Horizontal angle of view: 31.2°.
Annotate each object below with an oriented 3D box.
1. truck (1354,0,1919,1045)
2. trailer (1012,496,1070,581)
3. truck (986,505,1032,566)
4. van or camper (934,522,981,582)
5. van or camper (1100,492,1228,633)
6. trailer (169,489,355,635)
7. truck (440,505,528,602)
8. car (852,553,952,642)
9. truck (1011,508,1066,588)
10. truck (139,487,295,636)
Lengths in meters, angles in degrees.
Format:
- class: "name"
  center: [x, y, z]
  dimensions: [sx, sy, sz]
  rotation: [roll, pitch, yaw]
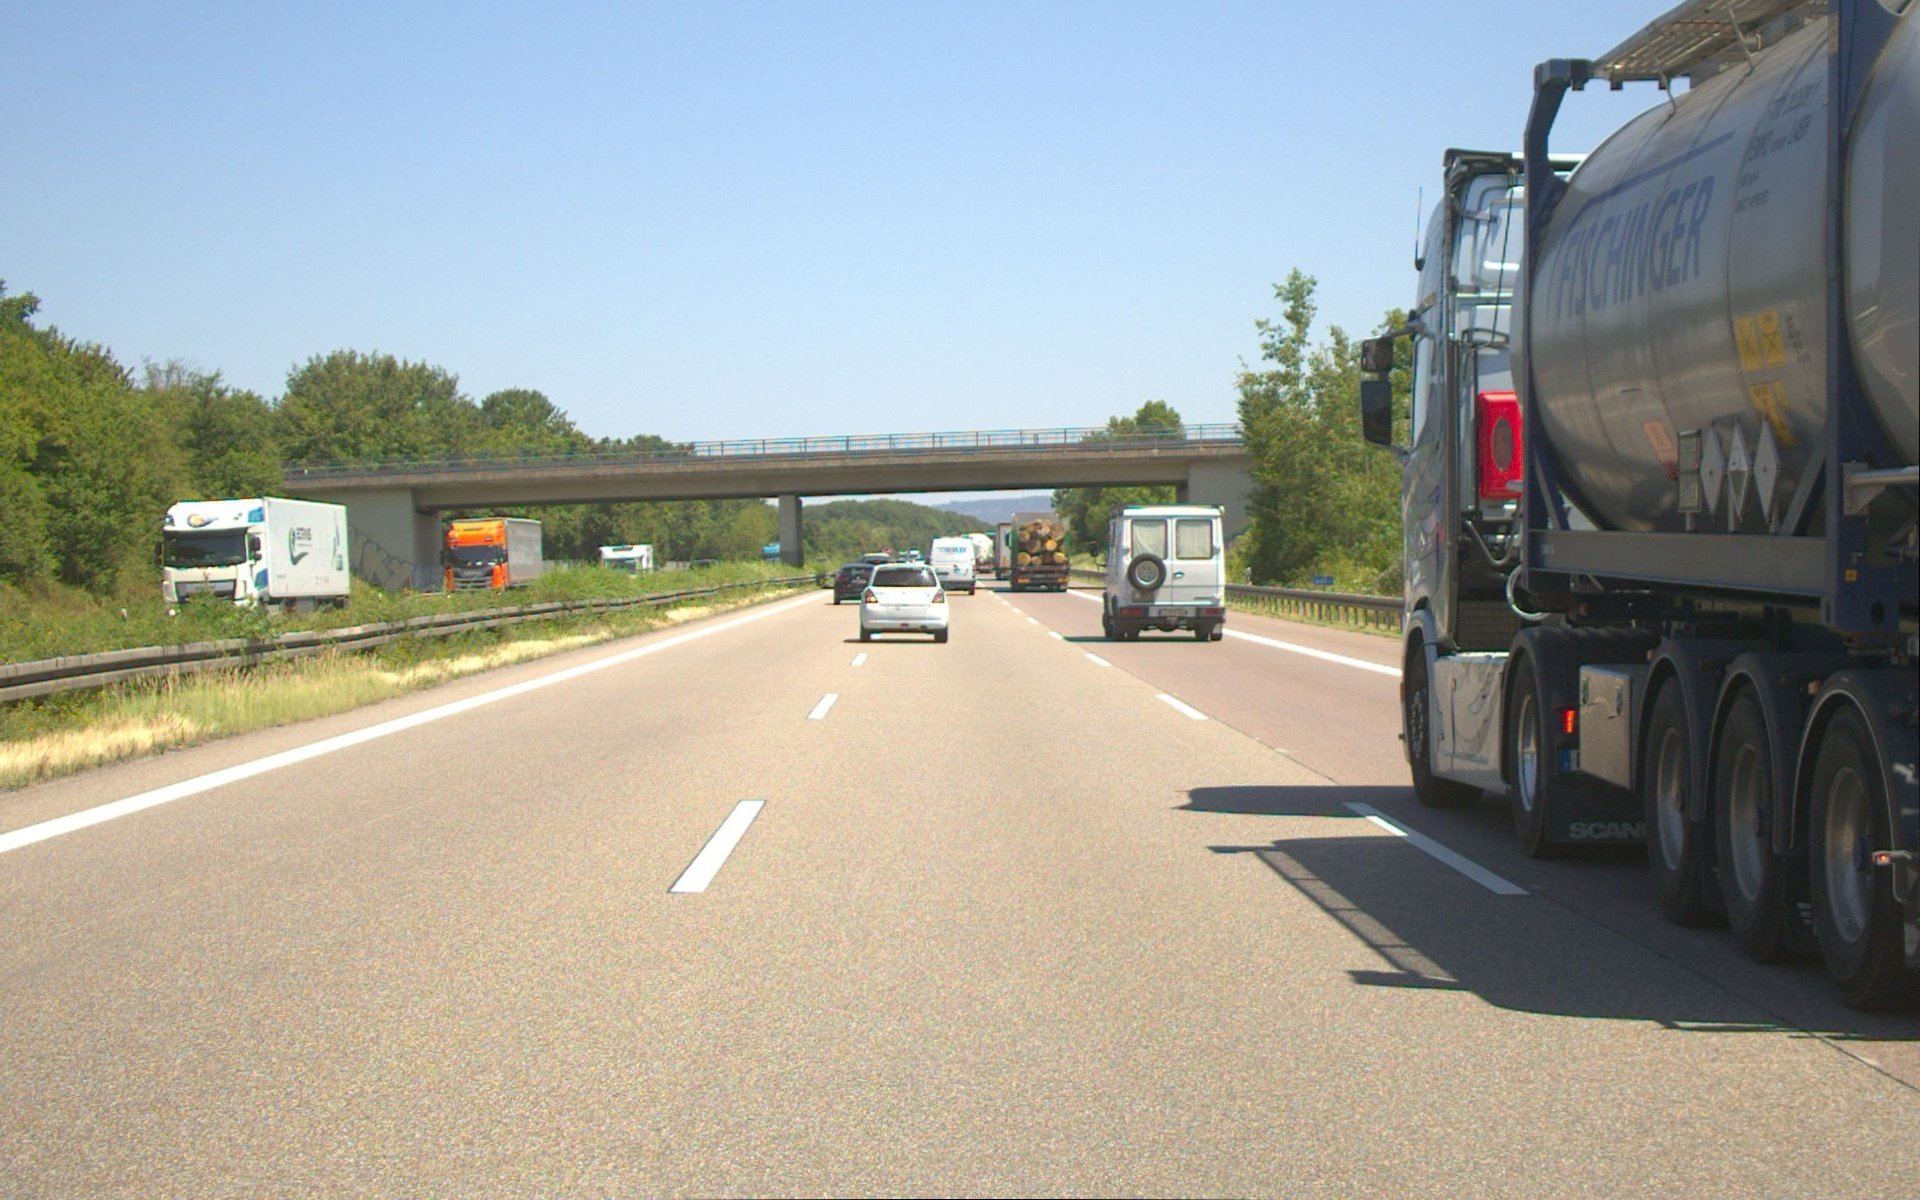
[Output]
- class: "truck"
  center: [4.233, -0.709, 17.149]
  dimensions: [2.798, 4.032, 13.355]
  rotation: [1, 1, -1]
- class: "trailer"
  center: [3.886, -2.964, 167.450]
  dimensions: [2.653, 3.945, 13.636]
  rotation: [0, 1, 0]
- class: "truck"
  center: [3.557, -4.563, 247.478]
  dimensions: [3.079, 4.194, 16.843]
  rotation: [1, 1, 1]
- class: "van or camper"
  center: [-0.096, -2.133, 152.642]
  dimensions: [2.058, 2.613, 5.985]
  rotation: [0, 1, 0]
- class: "van or camper"
  center: [4.039, -0.749, 69.078]
  dimensions: [2.113, 2.694, 6.368]
  rotation: [0, 1, -1]
- class: "trailer"
  center: [-21.415, -1.170, 106.377]
  dimensions: [3.175, 4.176, 12.988]
  rotation: [1, 1, 0]
- class: "truck"
  center: [-21.165, -2.069, 153.168]
  dimensions: [3.137, 4.217, 5.176]
  rotation: [1, 1, 0]
- class: "car"
  center: [-1.133, -0.066, 67.052]
  dimensions: [1.857, 1.646, 4.000]
  rotation: [1, 1, -1]
- class: "truck"
  center: [3.971, -2.648, 174.598]
  dimensions: [2.670, 3.981, 6.636]
  rotation: [0, 1, 0]
- class: "truck"
  center: [-21.365, -1.109, 99.176]
  dimensions: [3.194, 4.134, 5.944]
  rotation: [1, 1, 0]
